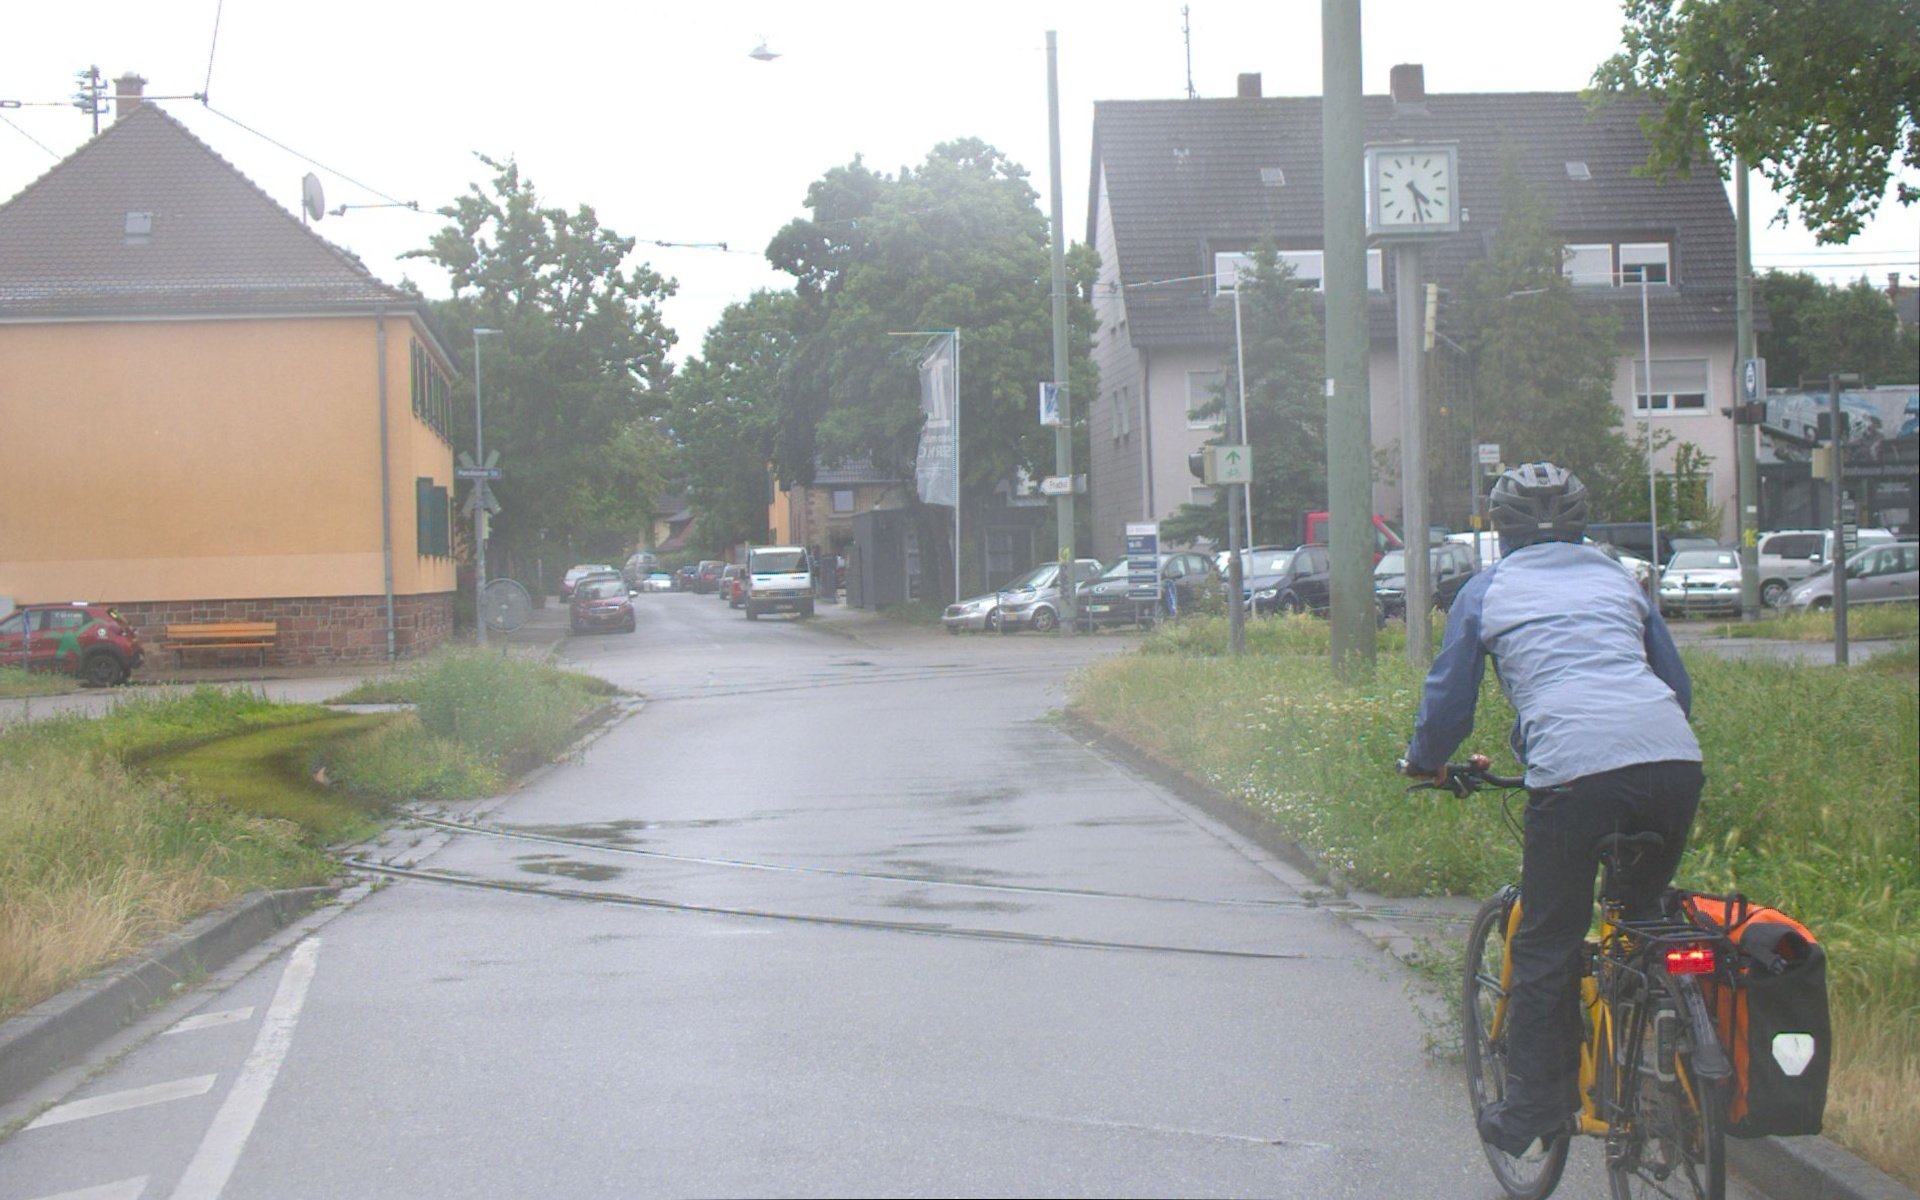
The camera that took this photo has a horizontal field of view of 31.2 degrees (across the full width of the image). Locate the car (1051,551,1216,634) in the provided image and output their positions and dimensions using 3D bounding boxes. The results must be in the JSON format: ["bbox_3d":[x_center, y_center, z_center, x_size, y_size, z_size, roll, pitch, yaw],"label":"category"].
[{"bbox_3d":[3.591,-0.150,70.493,1.996,1.634,3.994,1,0,25],"label":"car"}]

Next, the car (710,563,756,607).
[{"bbox_3d":[-9.579,-0.641,145.185,1.804,1.805,4.000,1,0,-2],"label":"car"}]

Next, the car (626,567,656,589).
[{"bbox_3d":[-21.497,-1.494,231.513,1.804,1.456,4.000,1,0,-2],"label":"car"}]

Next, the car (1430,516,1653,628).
[{"bbox_3d":[12.475,-0.601,73.926,4.395,2.317,2.000,1,0,-2],"label":"car"}]

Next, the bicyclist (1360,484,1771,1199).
[{"bbox_3d":[1.231,0.586,7.130,0.667,1.620,0.853,1,0,-1],"label":"bicyclist"}]

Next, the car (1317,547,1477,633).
[{"bbox_3d":[8.689,-0.194,68.060,1.996,1.634,3.994,1,0,25],"label":"car"}]

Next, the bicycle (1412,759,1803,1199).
[{"bbox_3d":[1.316,0.895,7.234,0.446,1.001,1.728,-1,1,-1],"label":"bicycle"}]

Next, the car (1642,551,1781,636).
[{"bbox_3d":[15.038,-0.124,68.647,1.843,1.634,3.994,1,0,25],"label":"car"}]

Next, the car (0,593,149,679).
[{"bbox_3d":[-16.407,0.612,60.388,3.986,1.451,1.834,1,0,-6],"label":"car"}]

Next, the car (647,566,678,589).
[{"bbox_3d":[-19.585,-1.455,226.249,1.804,1.456,4.000,1,0,-2],"label":"car"}]

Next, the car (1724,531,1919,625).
[{"bbox_3d":[18.680,-0.474,73.942,3.986,1.944,2.000,1,0,-2],"label":"car"}]

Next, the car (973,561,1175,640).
[{"bbox_3d":[2.483,0.010,74.588,3.987,1.670,2.000,1,0,-35],"label":"car"}]

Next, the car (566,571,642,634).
[{"bbox_3d":[-9.652,0.058,93.478,1.804,1.645,4.000,1,0,-2],"label":"car"}]

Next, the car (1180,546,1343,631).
[{"bbox_3d":[6.099,-0.228,69.238,1.996,1.634,3.994,1,0,25],"label":"car"}]

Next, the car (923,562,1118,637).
[{"bbox_3d":[1.384,-0.012,77.660,3.987,1.637,2.000,1,0,-35],"label":"car"}]

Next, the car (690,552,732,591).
[{"bbox_3d":[-11.751,-1.339,162.423,1.804,1.805,4.000,1,0,-2],"label":"car"}]

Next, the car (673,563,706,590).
[{"bbox_3d":[-16.436,-1.416,209.054,1.804,1.558,4.000,1,0,-2],"label":"car"}]

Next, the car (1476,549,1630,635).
[{"bbox_3d":[11.808,-0.160,68.269,1.996,1.634,3.994,1,0,25],"label":"car"}]

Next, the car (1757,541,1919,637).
[{"bbox_3d":[16.621,-0.200,62.781,3.685,1.695,1.890,1,0,1],"label":"car"}]

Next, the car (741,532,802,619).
[{"bbox_3d":[-5.781,-0.752,105.803,1.804,2.618,4.000,1,0,-2],"label":"car"}]

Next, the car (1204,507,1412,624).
[{"bbox_3d":[7.866,-0.784,77.509,4.398,2.557,1.999,1,0,14],"label":"car"}]
